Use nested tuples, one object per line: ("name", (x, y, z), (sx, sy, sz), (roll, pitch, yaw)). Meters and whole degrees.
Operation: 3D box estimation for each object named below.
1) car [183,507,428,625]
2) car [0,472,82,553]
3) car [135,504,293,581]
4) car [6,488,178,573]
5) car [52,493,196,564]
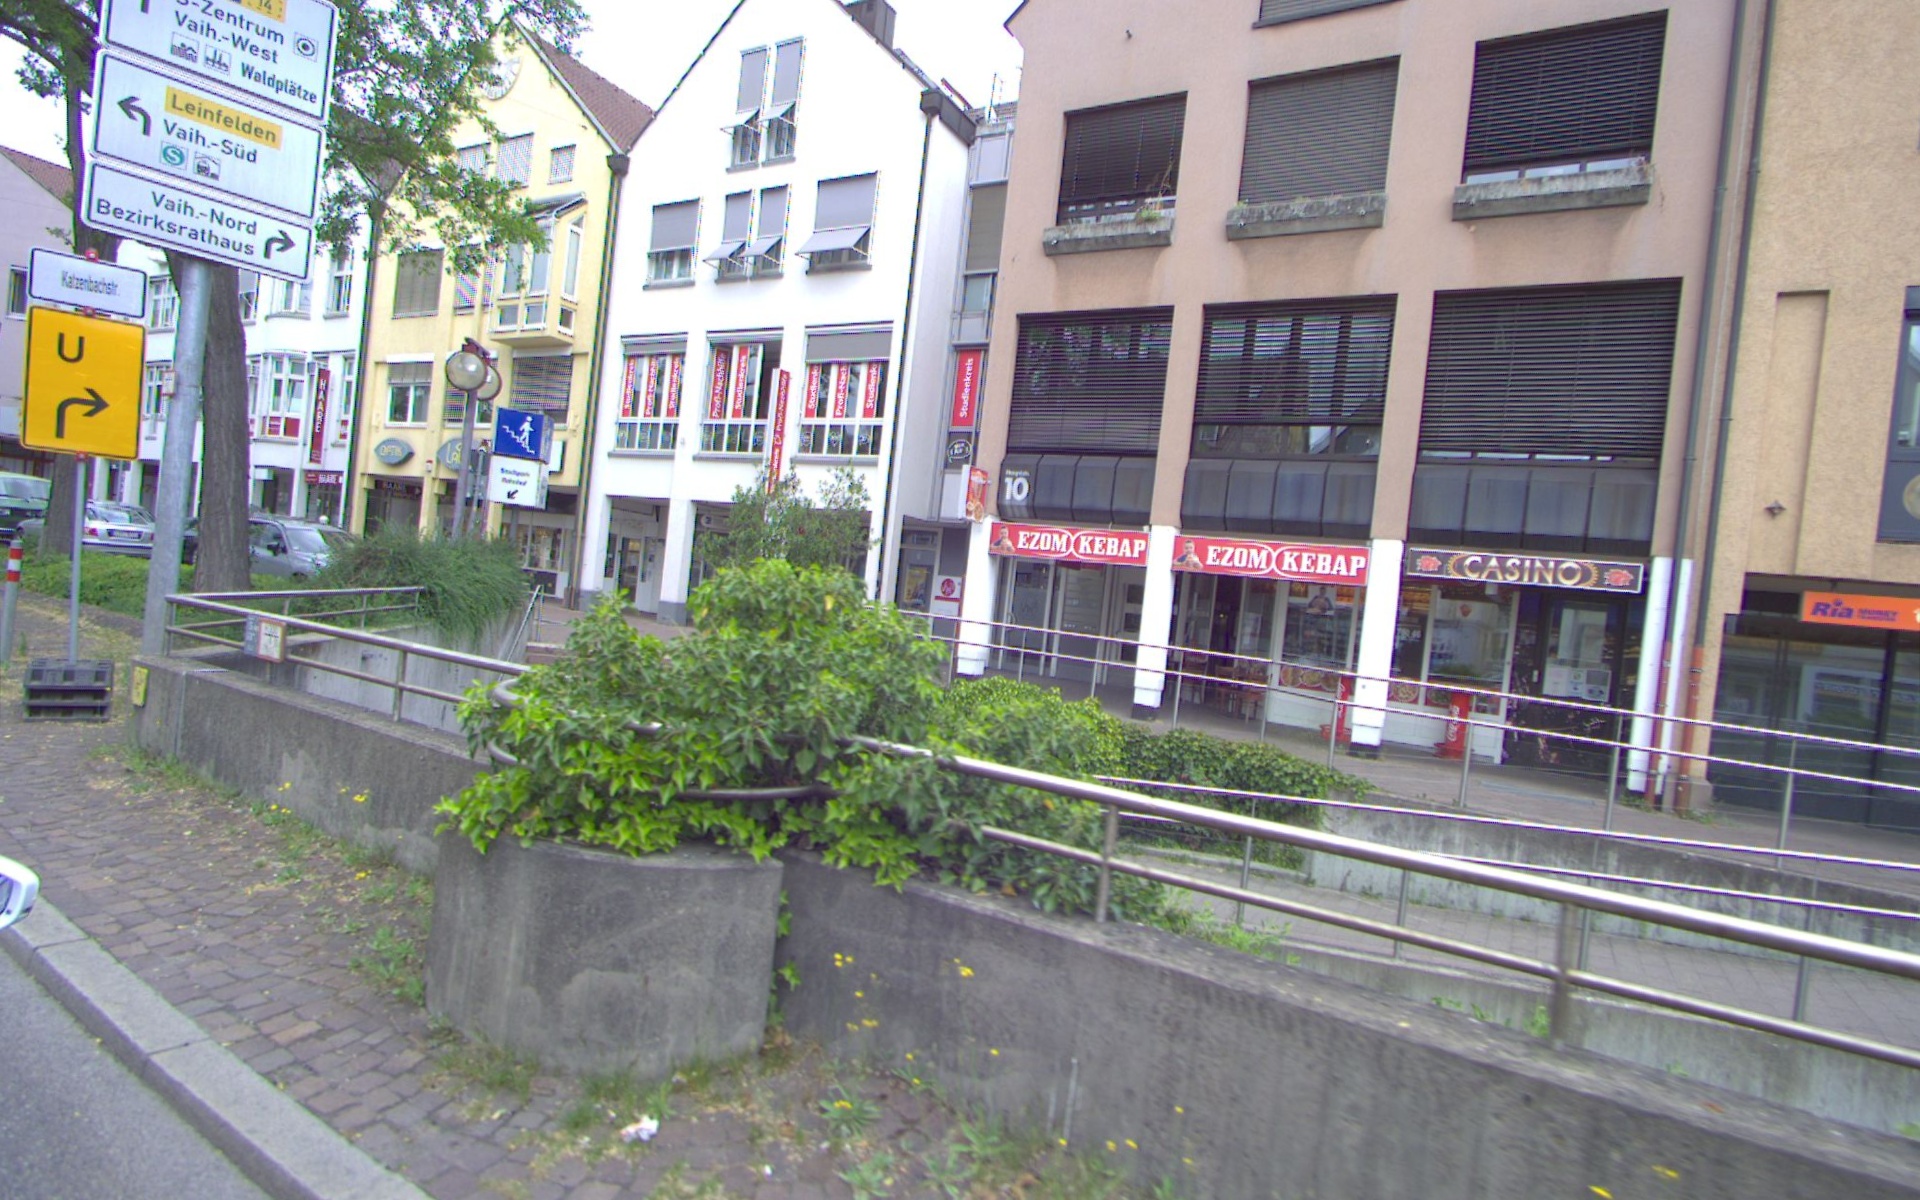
("car", (-12.463, -0.660, 19.120), (4.421, 1.659, 1.884), (7, 0, 28))
("car", (-25.851, -2.485, 27.182), (3.931, 1.888, 1.870), (7, 0, 29))
("car", (-20.065, -1.558, 27.055), (3.931, 1.547, 1.870), (7, 0, 29))
("car", (-21.246, -1.703, 24.602), (3.931, 1.547, 1.870), (7, 0, 29))
("car", (-24.503, -2.099, 29.484), (3.931, 1.547, 1.870), (7, 0, 29))
